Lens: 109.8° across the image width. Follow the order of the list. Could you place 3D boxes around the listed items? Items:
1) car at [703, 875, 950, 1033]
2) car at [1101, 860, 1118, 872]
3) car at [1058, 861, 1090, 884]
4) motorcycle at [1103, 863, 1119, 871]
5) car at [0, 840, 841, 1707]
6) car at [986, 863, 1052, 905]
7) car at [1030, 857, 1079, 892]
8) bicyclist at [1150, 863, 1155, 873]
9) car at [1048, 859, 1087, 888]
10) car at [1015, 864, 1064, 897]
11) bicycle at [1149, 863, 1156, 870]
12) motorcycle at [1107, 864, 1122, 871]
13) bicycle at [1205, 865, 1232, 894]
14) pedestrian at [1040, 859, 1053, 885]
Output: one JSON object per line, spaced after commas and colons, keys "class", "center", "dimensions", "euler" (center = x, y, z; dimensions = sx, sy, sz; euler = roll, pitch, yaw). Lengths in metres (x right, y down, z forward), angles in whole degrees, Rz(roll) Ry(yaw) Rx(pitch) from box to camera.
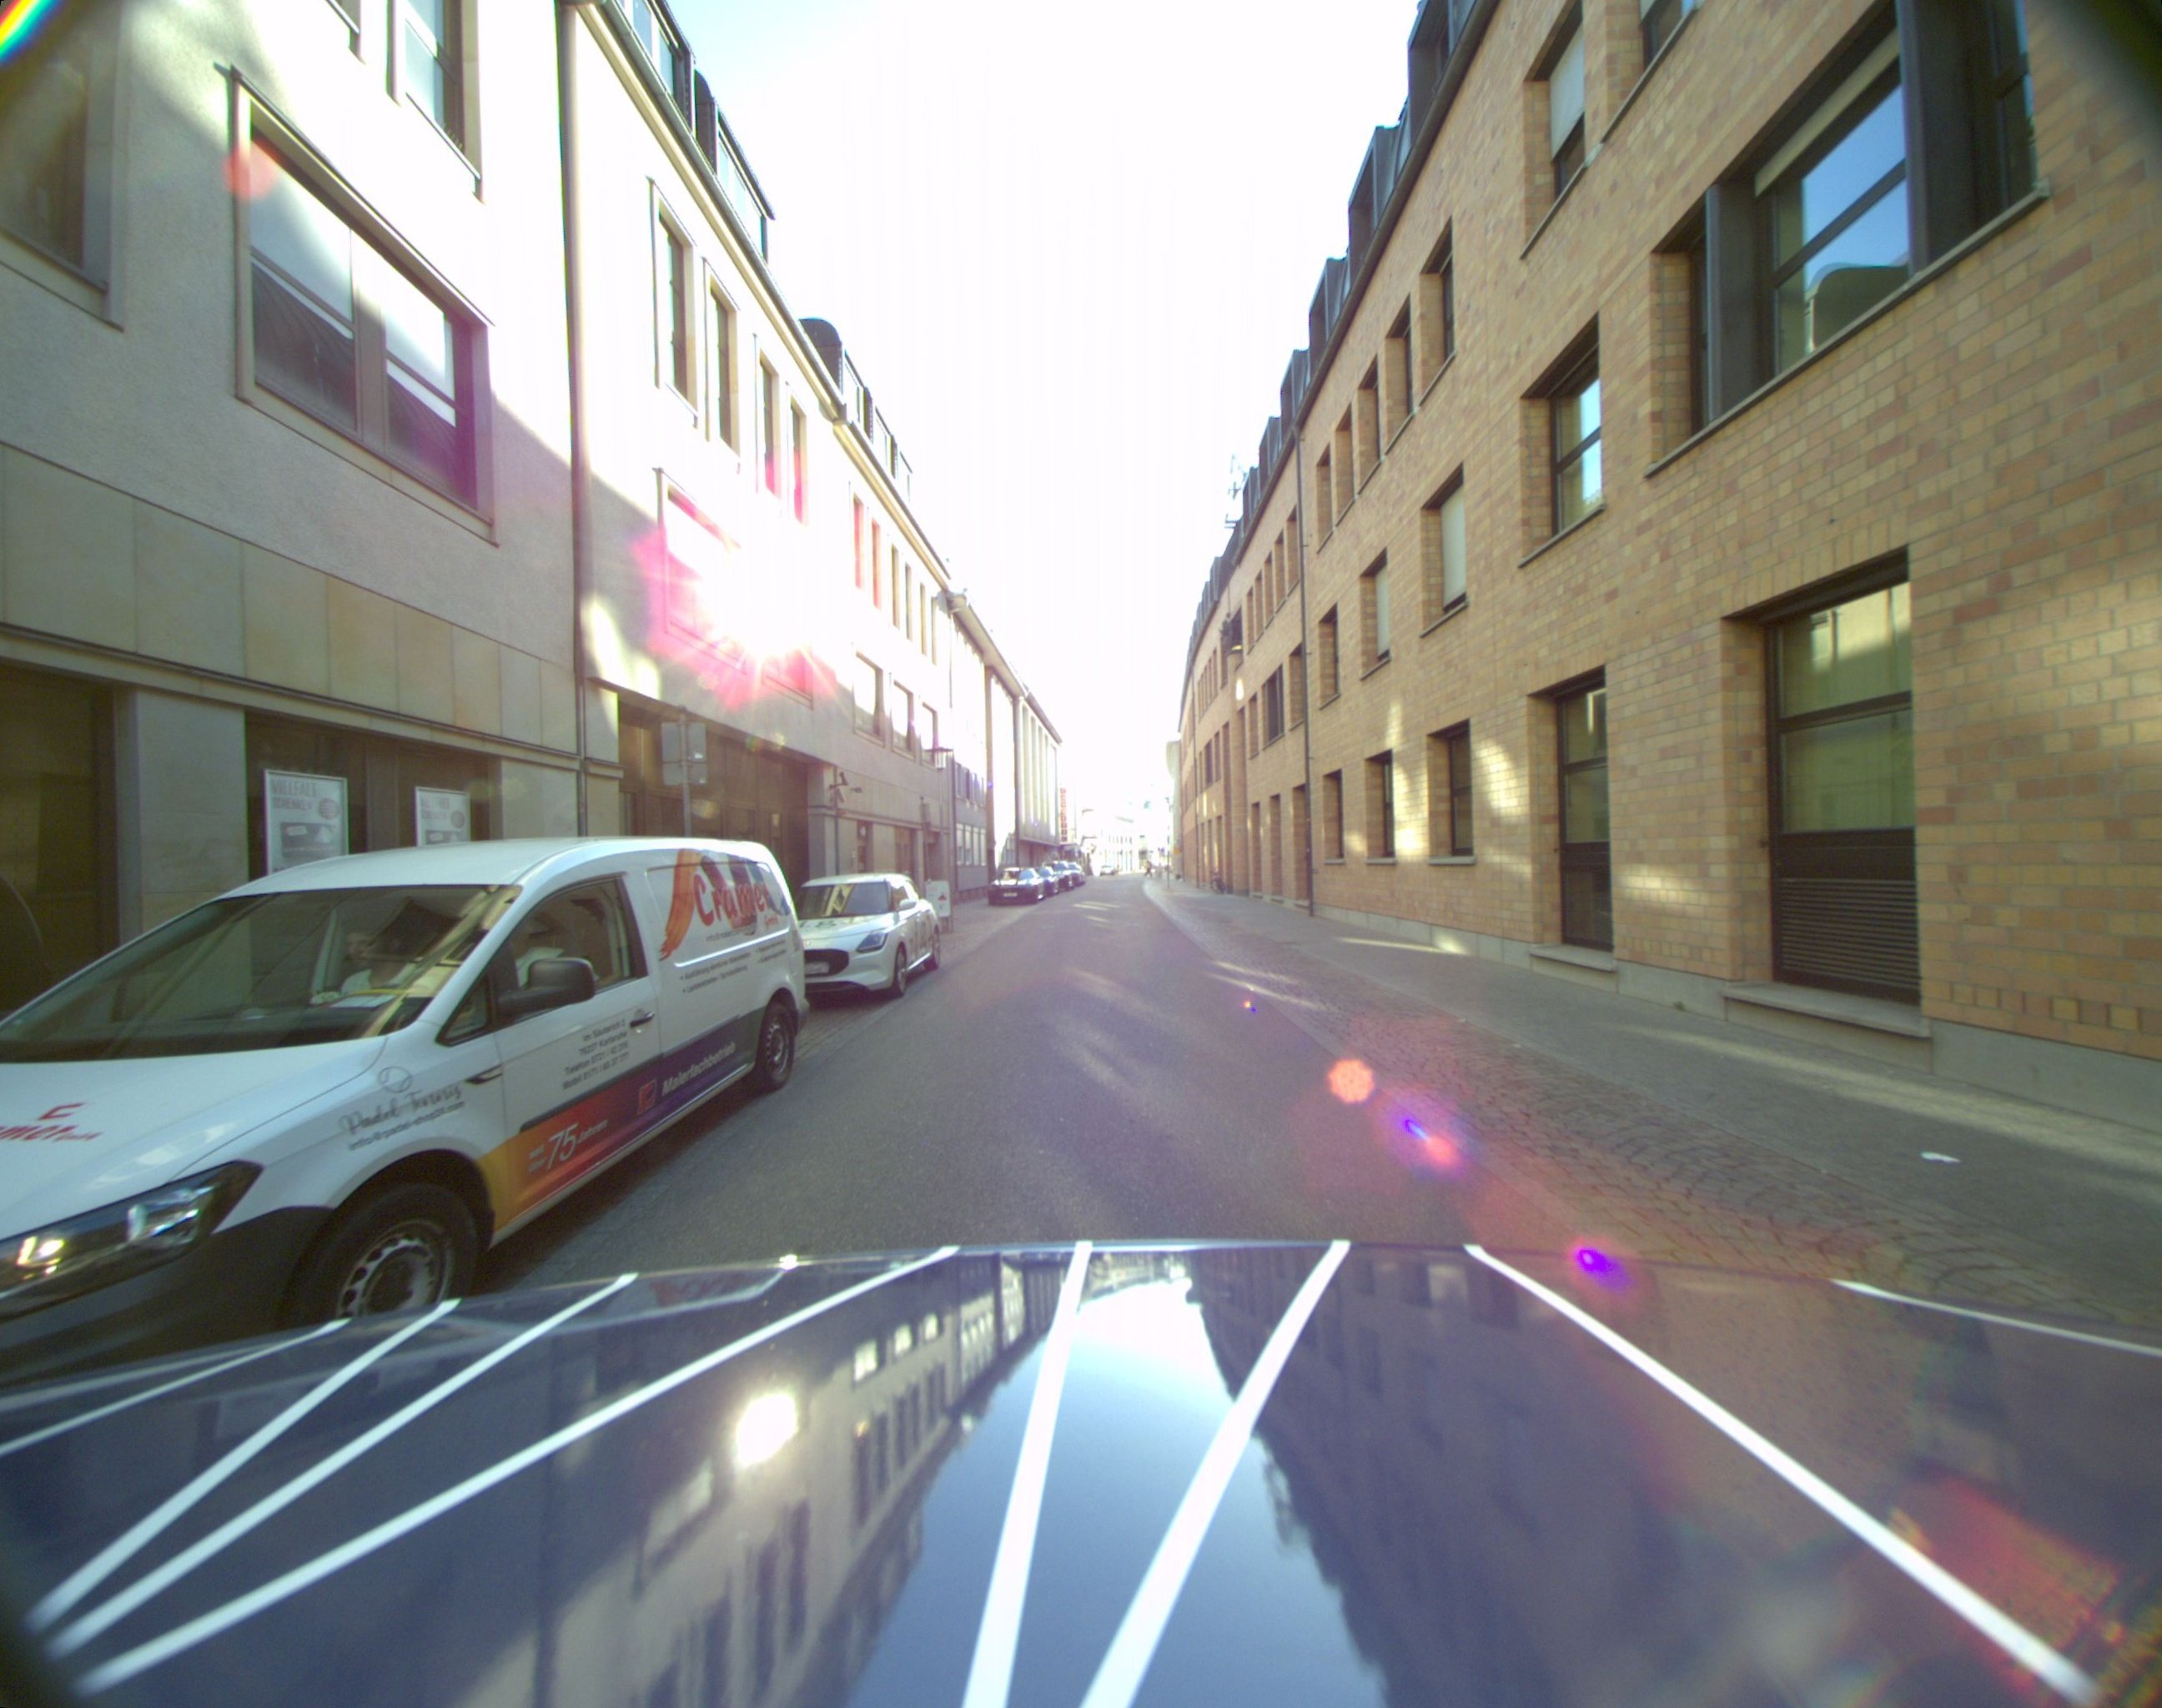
{"class": "car", "center": [-3.031, 1.108, 10.079], "dimensions": [1.845, 1.469, 4.168], "euler": [-4, 0, -1]}
{"class": "car", "center": [3.602, 1.494, 96.377], "dimensions": [1.846, 1.453, 4.001], "euler": [-3, 0, 6]}
{"class": "car", "center": [-0.489, 1.339, 56.162], "dimensions": [1.827, 1.495, 4.602], "euler": [-4, -1, 5]}
{"class": "motorcycle", "center": [4.126, 1.767, 103.581], "dimensions": [1.995, 0.950, 0.646], "euler": [-2, 0, 19]}
{"class": "car", "center": [-2.950, 0.907, 3.772], "dimensions": [1.835, 1.780, 5.213], "euler": [-2, 0, -1]}
{"class": "car", "center": [-2.433, 1.164, 31.189], "dimensions": [1.898, 1.444, 5.227], "euler": [-3, 0, 4]}
{"class": "car", "center": [-1.434, 1.122, 43.370], "dimensions": [2.108, 1.775, 5.054], "euler": [-3, 0, 5]}
{"class": "bicyclist", "center": [11.839, 2.364, 125.890], "dimensions": [0.663, 1.633, 0.927], "euler": [2, 1, 16]}
{"class": "car", "center": [-0.842, 1.272, 50.584], "dimensions": [1.998, 1.692, 4.845], "euler": [-4, -1, 5]}
{"class": "car", "center": [-1.968, 1.245, 37.208], "dimensions": [1.811, 1.404, 4.791], "euler": [-4, 0, 3]}
{"class": "bicycle", "center": [11.860, 2.129, 125.928], "dimensions": [0.651, 1.125, 1.738], "euler": [2, 1, 16]}
{"class": "motorcycle", "center": [4.795, 1.859, 107.443], "dimensions": [1.995, 0.950, 0.646], "euler": [-2, 0, 19]}
{"class": "bicycle", "center": [5.885, 1.067, 32.616], "dimensions": [0.633, 1.155, 1.803], "euler": [-4, 0, -5]}
{"class": "pedestrian", "center": [-2.336, 1.226, 51.094], "dimensions": [0.790, 1.711, 0.747], "euler": [1, 0, 4]}
